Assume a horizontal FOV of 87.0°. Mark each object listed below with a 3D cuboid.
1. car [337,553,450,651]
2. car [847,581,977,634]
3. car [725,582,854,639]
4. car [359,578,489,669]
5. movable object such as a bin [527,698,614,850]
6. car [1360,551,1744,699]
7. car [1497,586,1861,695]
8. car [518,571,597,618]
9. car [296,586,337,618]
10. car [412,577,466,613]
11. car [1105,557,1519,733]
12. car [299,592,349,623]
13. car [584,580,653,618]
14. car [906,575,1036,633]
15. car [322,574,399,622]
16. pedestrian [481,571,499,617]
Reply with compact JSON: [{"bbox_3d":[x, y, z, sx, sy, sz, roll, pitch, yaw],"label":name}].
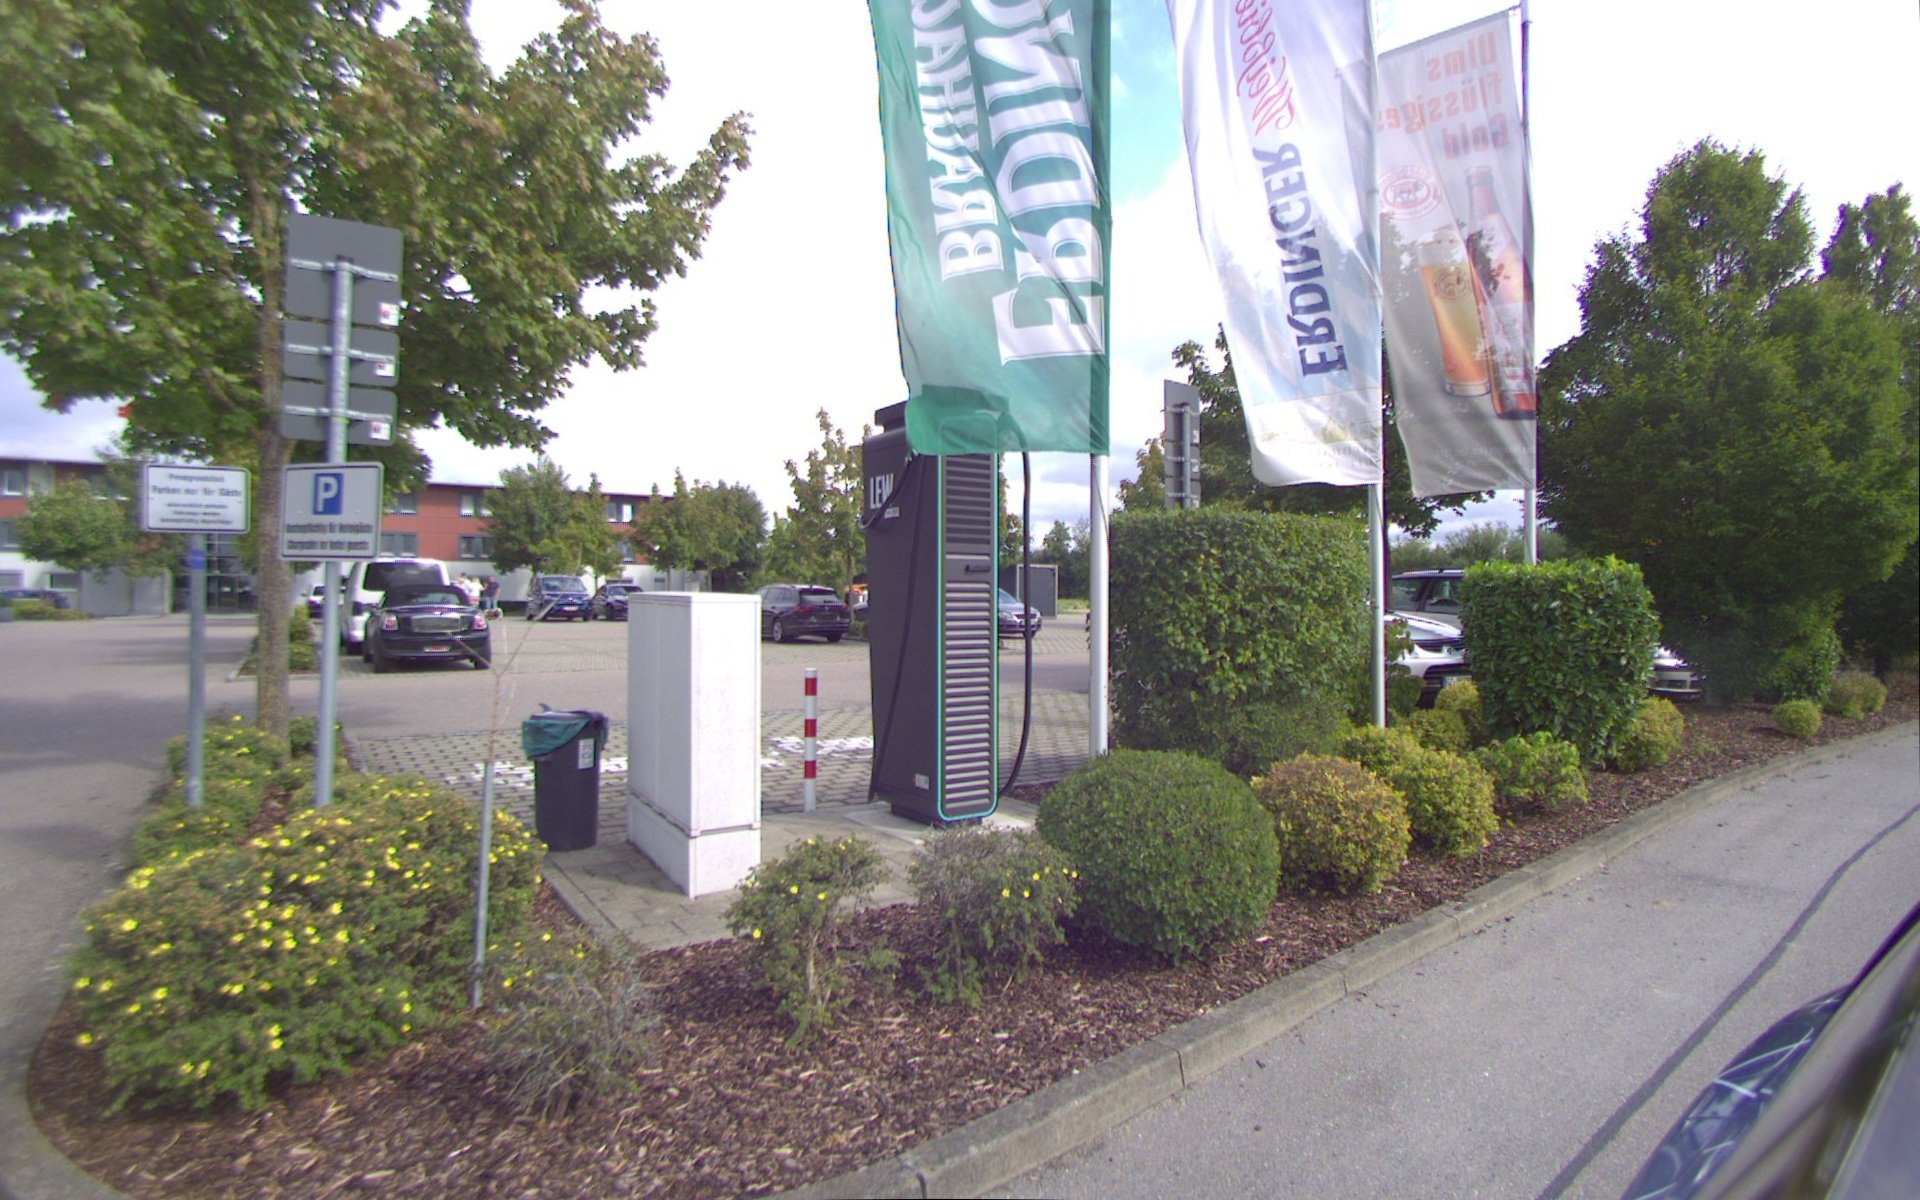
[{"bbox_3d":[-12.063,0.034,21.422,1.733,1.845,4.367,0,0,-34],"label":"car"},{"bbox_3d":[-1.437,0.202,28.449,1.688,1.363,4.277,0,0,-34],"label":"car"},{"bbox_3d":[-4.502,0.248,26.282,1.688,1.363,4.277,0,0,-34],"label":"car"},{"bbox_3d":[-9.149,0.355,17.172,1.598,1.368,3.373,0,0,-34],"label":"car"},{"bbox_3d":[-1.963,0.859,5.098,0.360,0.693,0.289,0,-1,-30],"label":"movable object such as a bin"},{"bbox_3d":[8.000,0.296,14.123,1.625,1.738,4.364,0,0,-34],"label":"car"},{"bbox_3d":[10.250,0.505,14.722,1.693,1.367,3.999,0,0,-35],"label":"car"},{"bbox_3d":[-15.359,-0.193,38.518,1.735,1.677,3.997,0,0,-38],"label":"car"},{"bbox_3d":[-37.024,0.120,58.180,1.644,1.804,3.997,0,0,-38],"label":"car"},{"bbox_3d":[-26.248,-0.230,50.906,1.735,1.742,3.997,0,0,-38],"label":"car"},{"bbox_3d":[3.986,0.371,12.368,1.881,1.717,4.685,-1,2,-30],"label":"car"},{"bbox_3d":[-30.245,0.340,48.067,1.644,1.447,3.997,0,0,-38],"label":"car"},{"bbox_3d":[-13.334,-0.042,39.472,1.501,1.391,3.475,0,0,-38],"label":"car"},{"bbox_3d":[0.263,0.116,29.884,1.961,1.591,4.001,0,0,-33],"label":"car"},{"bbox_3d":[-20.346,-0.069,34.292,1.790,1.519,3.843,0,0,-38],"label":"car"},{"bbox_3d":[-18.287,-0.234,39.368,0.490,1.747,0.416,0,-1,-2],"label":"pedestrian"}]
